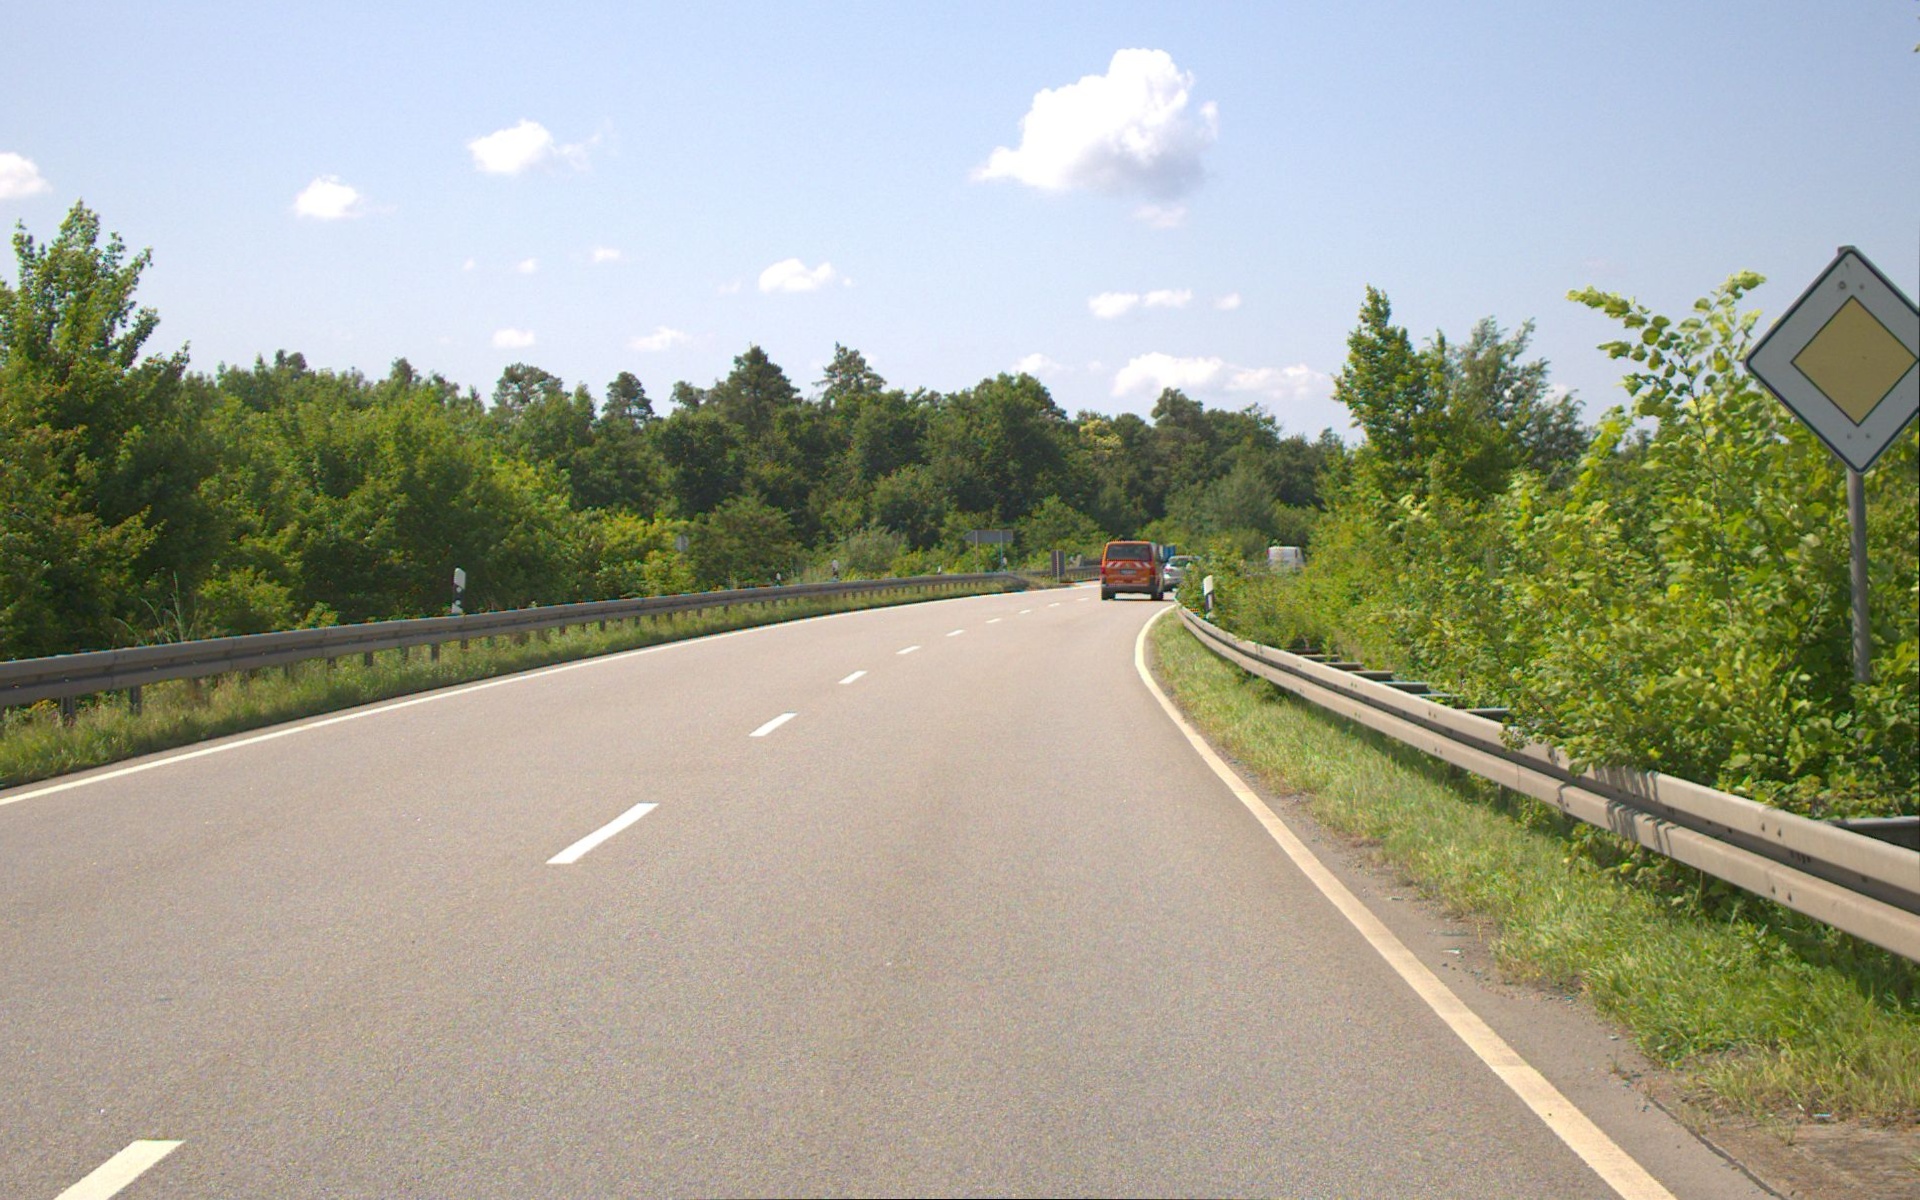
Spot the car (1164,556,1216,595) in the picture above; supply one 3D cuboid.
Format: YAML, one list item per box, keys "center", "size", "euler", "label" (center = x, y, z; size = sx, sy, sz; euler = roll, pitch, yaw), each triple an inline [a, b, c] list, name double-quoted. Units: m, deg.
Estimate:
- center: [9.222, -0.971, 137.580]
  size: [2.007, 1.489, 4.238]
  euler: [1, 0, 5]
  label: "car"

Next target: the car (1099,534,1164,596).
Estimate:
- center: [5.691, -1.135, 114.258]
  size: [2.077, 1.986, 5.111]
  euler: [1, 0, 2]
  label: "car"

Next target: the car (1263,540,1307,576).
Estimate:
- center: [18.422, -2.363, 194.901]
  size: [2.185, 1.948, 5.803]
  euler: [2, 1, 3]
  label: "car"
